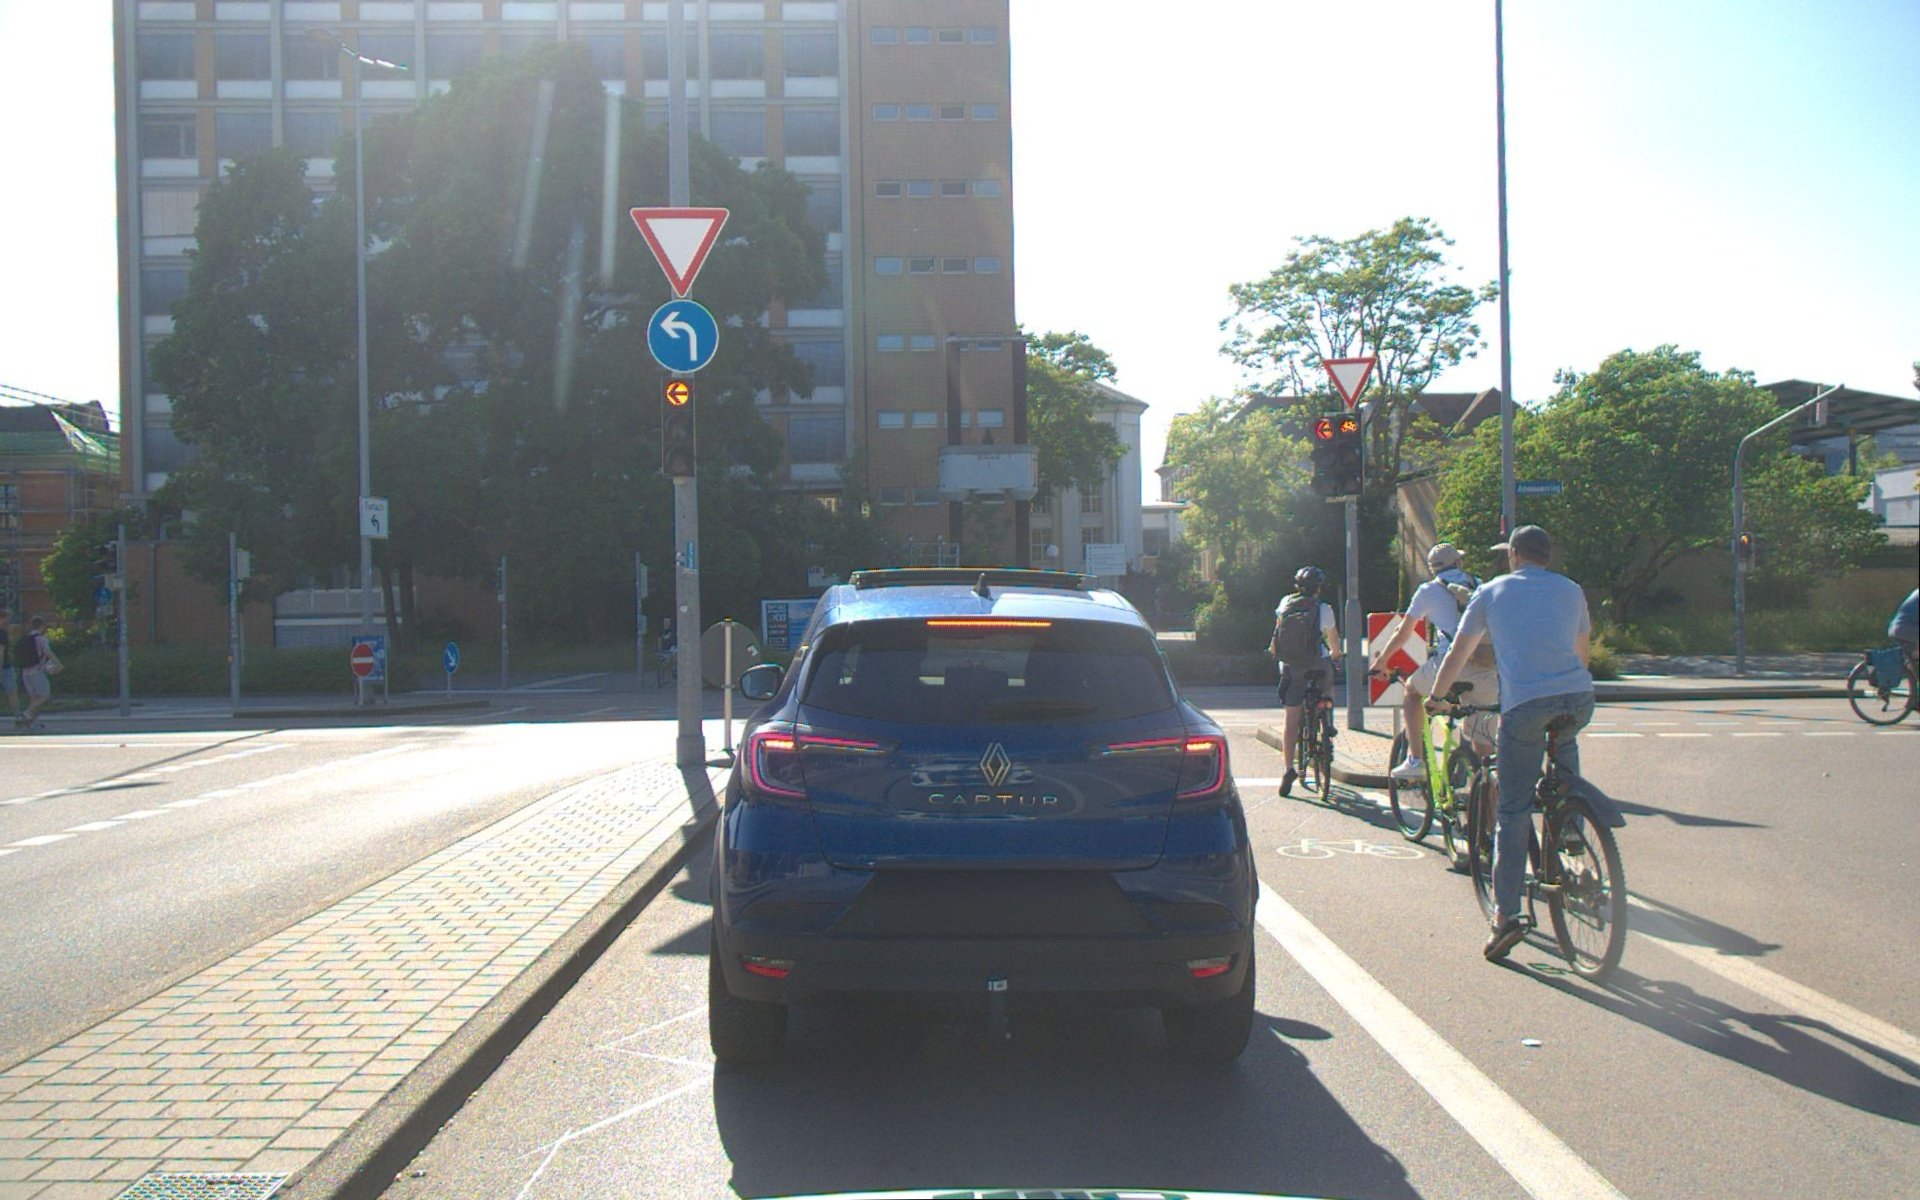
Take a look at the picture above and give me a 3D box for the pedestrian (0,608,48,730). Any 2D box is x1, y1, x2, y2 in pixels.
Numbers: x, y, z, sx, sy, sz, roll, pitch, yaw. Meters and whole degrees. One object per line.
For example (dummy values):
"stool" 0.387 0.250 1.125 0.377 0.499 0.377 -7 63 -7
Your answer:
"pedestrian" -15.244 1.082 26.376 0.796 1.895 0.910 -1 0 13

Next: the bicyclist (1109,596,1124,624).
"bicyclist" 8.656 0.549 91.509 0.680 1.507 0.717 -1 0 -2

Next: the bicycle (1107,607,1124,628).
"bicycle" 8.641 0.954 92.048 0.680 1.160 2.440 -1 0 -1

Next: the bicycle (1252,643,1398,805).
"bicycle" 2.784 0.915 12.803 0.675 1.108 1.922 0 0 -1

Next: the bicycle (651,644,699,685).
"bicycle" -7.522 1.697 43.772 0.739 1.002 2.095 -1 0 5

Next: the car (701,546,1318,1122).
"car" 0.061 0.661 6.646 1.753 1.613 3.912 0 0 -3

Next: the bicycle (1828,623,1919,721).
"bicycle" 10.421 0.752 17.708 1.858 0.990 0.650 -2 0 6

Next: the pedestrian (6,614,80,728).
"pedestrian" -14.494 1.111 26.166 0.666 1.761 0.761 -1 0 13

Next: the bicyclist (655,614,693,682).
"bicyclist" -7.539 1.255 43.668 0.739 1.746 0.999 -1 0 5

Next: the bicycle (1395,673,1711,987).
"bicycle" 2.514 0.918 7.262 0.675 1.108 1.922 0 0 -1

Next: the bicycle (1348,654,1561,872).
"bicycle" 2.885 0.909 9.855 0.675 1.108 1.922 0 0 -1

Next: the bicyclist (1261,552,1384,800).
"bicyclist" 2.770 0.559 12.745 0.685 1.822 1.142 0 0 -1

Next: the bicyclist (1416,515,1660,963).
"bicyclist" 2.511 0.567 7.307 0.669 1.822 1.142 0 0 -1

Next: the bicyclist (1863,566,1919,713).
"bicyclist" 10.385 0.398 17.712 1.029 1.540 0.642 -2 0 6

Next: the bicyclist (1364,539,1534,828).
"bicyclist" 2.887 0.468 9.870 0.664 1.622 1.142 0 0 -1
